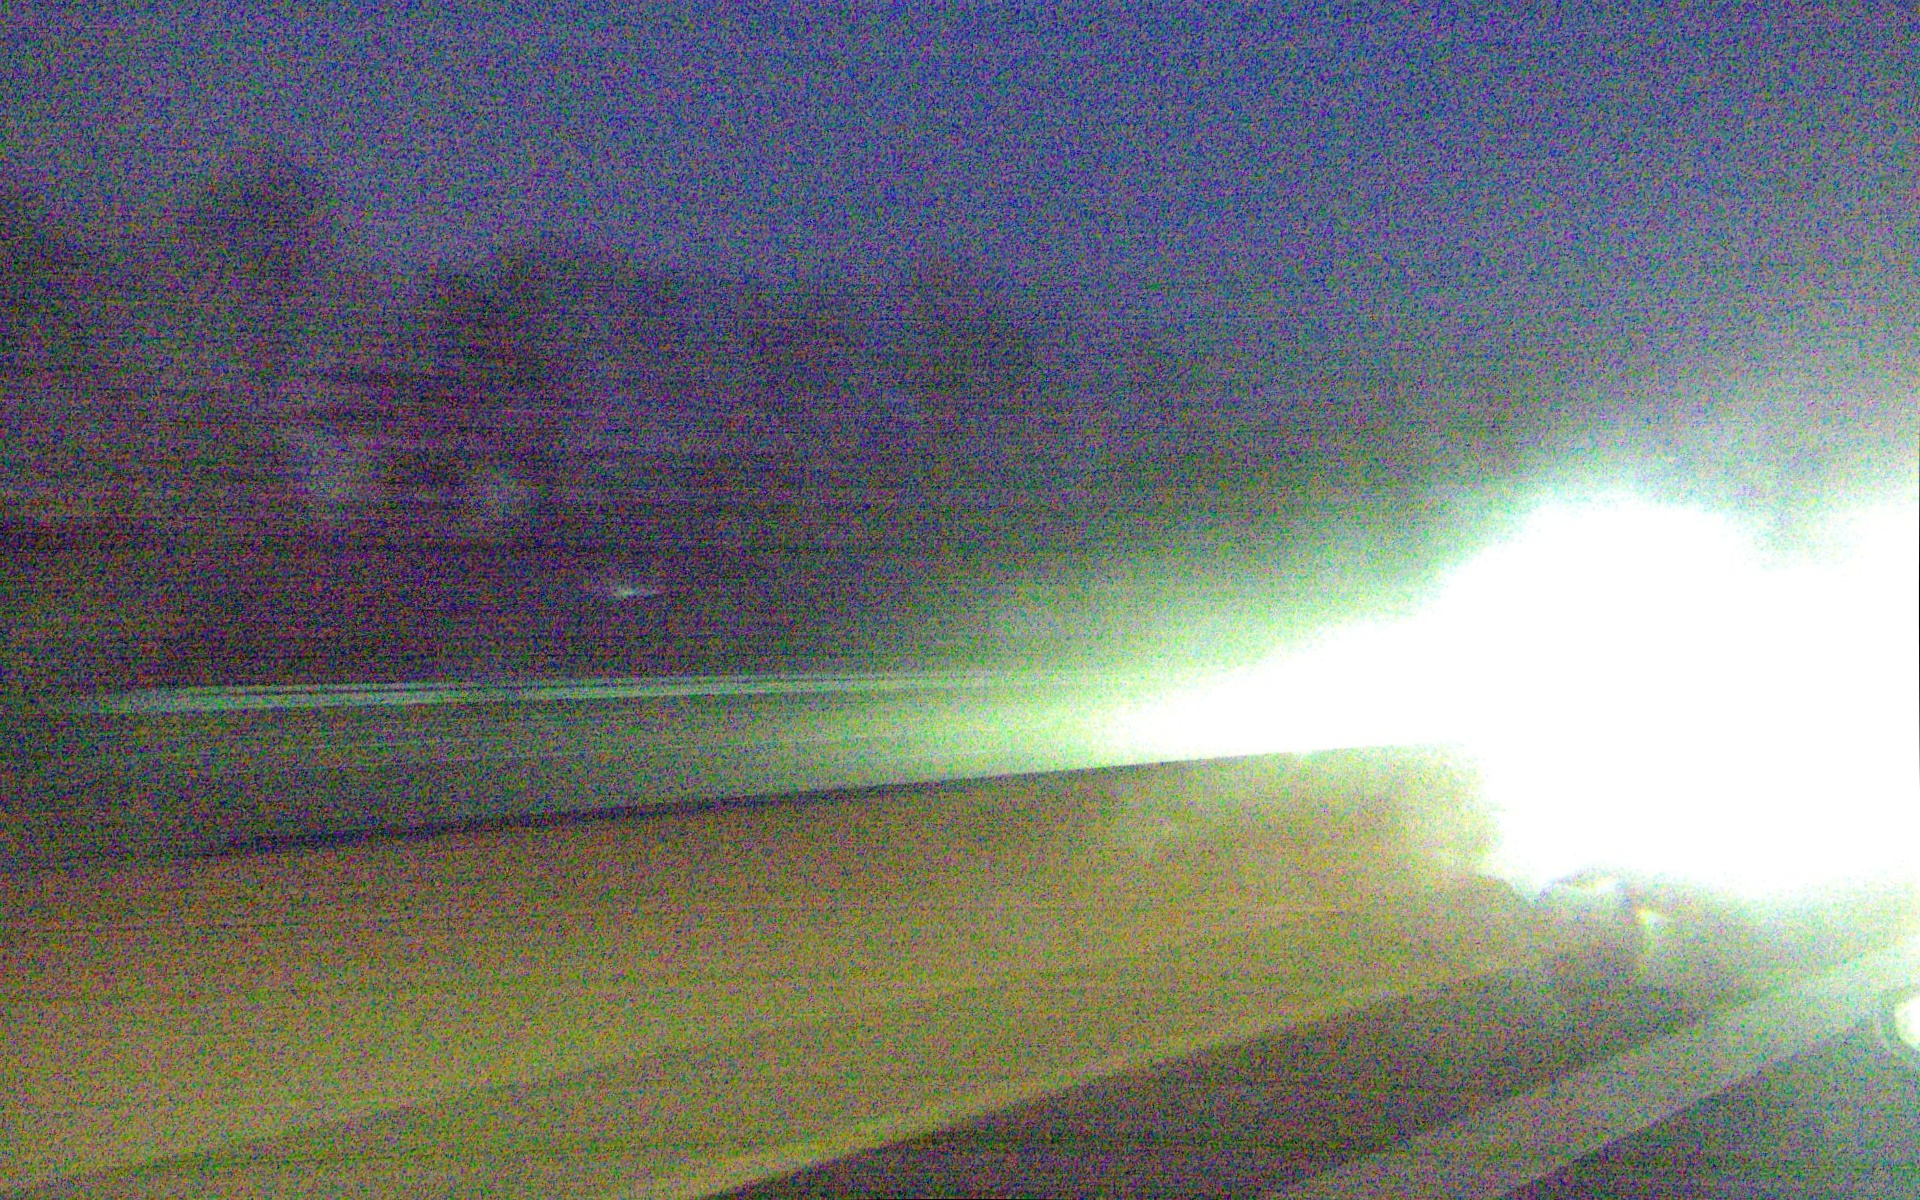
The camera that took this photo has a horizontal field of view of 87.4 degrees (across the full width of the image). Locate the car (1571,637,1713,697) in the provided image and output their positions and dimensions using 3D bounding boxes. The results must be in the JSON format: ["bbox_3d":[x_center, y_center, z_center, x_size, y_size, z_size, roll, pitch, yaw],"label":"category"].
[{"bbox_3d":[21.962,2.103,32.297,4.905,1.784,1.983,1,-2,-33],"label":"car"}]
